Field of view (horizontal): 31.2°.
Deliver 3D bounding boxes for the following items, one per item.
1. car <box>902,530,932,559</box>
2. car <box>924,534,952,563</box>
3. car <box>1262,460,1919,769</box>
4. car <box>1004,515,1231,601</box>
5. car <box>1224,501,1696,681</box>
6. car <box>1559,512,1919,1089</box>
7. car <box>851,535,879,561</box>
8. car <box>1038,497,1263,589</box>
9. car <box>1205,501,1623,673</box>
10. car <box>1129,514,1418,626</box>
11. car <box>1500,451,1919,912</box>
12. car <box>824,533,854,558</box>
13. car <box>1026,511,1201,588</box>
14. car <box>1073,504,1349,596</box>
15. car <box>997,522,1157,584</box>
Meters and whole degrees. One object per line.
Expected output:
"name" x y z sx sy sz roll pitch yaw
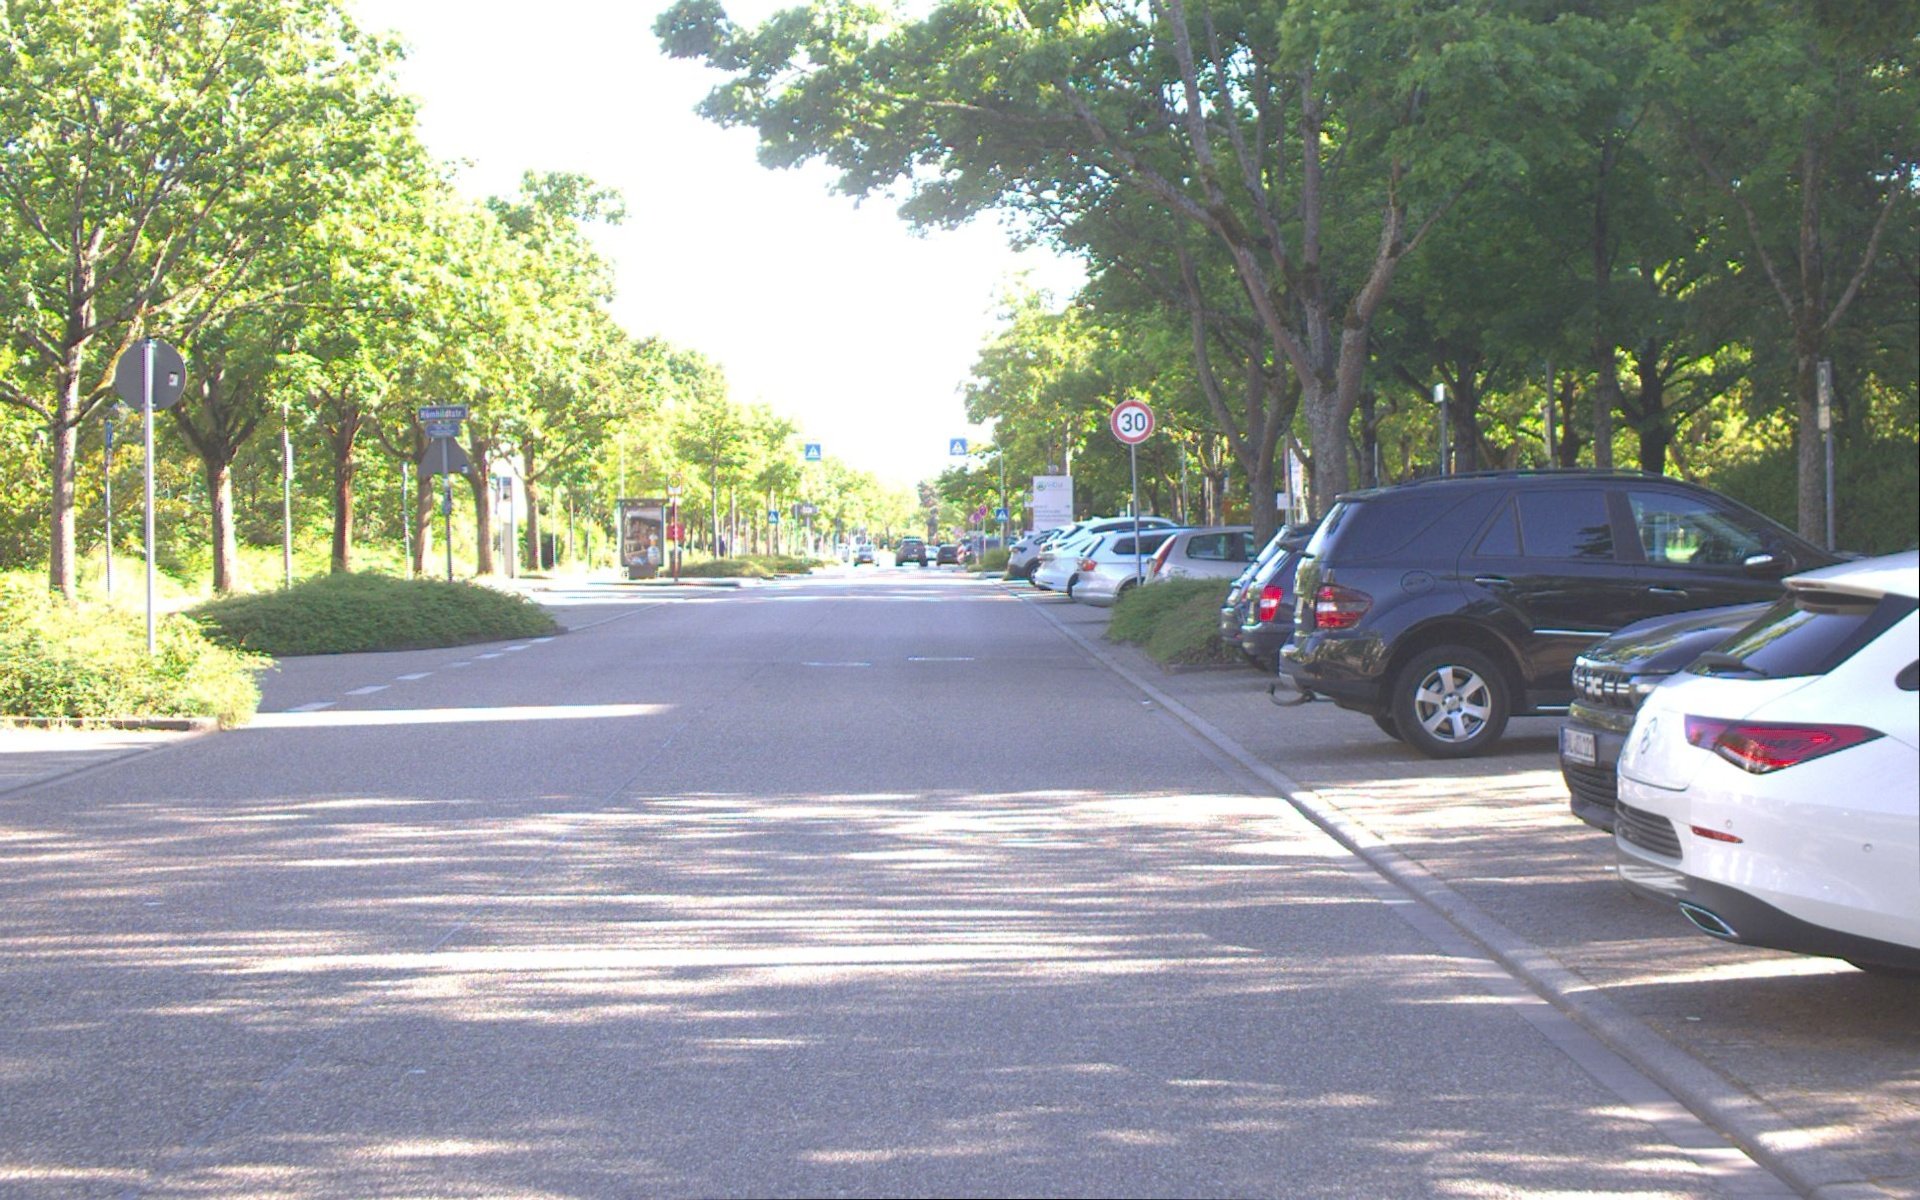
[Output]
"car" -2.922 -3.801 235.874 1.993 2.007 4.000 0 1 0
"car" -1.573 -3.691 246.044 1.993 2.007 4.000 0 1 0
"car" 4.368 0.060 22.259 4.587 1.773 2.000 -2 1 0
"car" 3.121 -0.837 68.577 4.342 1.484 1.738 -3 1 -2
"car" 4.512 -0.098 31.444 3.987 1.382 1.822 -3 1 0
"car" 4.184 0.528 10.177 4.441 1.540 1.818 0 1 -3
"car" -6.593 -3.612 239.775 1.828 1.769 3.740 0 1 0
"car" 3.919 -1.188 71.272 4.435 1.642 1.816 -3 1 -2
"car" 4.476 -0.148 34.226 3.808 1.494 1.702 -3 1 -3
"car" 4.510 -0.452 49.873 3.987 1.446 1.717 -2 1 0
"car" 4.329 0.236 13.286 4.118 1.612 1.734 -2 0 -2
"car" -8.708 -3.959 248.280 1.993 1.795 4.000 0 1 0
"car" 3.373 -1.128 76.142 3.688 1.517 1.651 -3 1 -2
"car" 3.975 -0.793 54.477 4.275 1.423 1.827 0 1 4
"car" 3.146 -1.269 92.942 4.164 1.423 2.000 -3 1 0
